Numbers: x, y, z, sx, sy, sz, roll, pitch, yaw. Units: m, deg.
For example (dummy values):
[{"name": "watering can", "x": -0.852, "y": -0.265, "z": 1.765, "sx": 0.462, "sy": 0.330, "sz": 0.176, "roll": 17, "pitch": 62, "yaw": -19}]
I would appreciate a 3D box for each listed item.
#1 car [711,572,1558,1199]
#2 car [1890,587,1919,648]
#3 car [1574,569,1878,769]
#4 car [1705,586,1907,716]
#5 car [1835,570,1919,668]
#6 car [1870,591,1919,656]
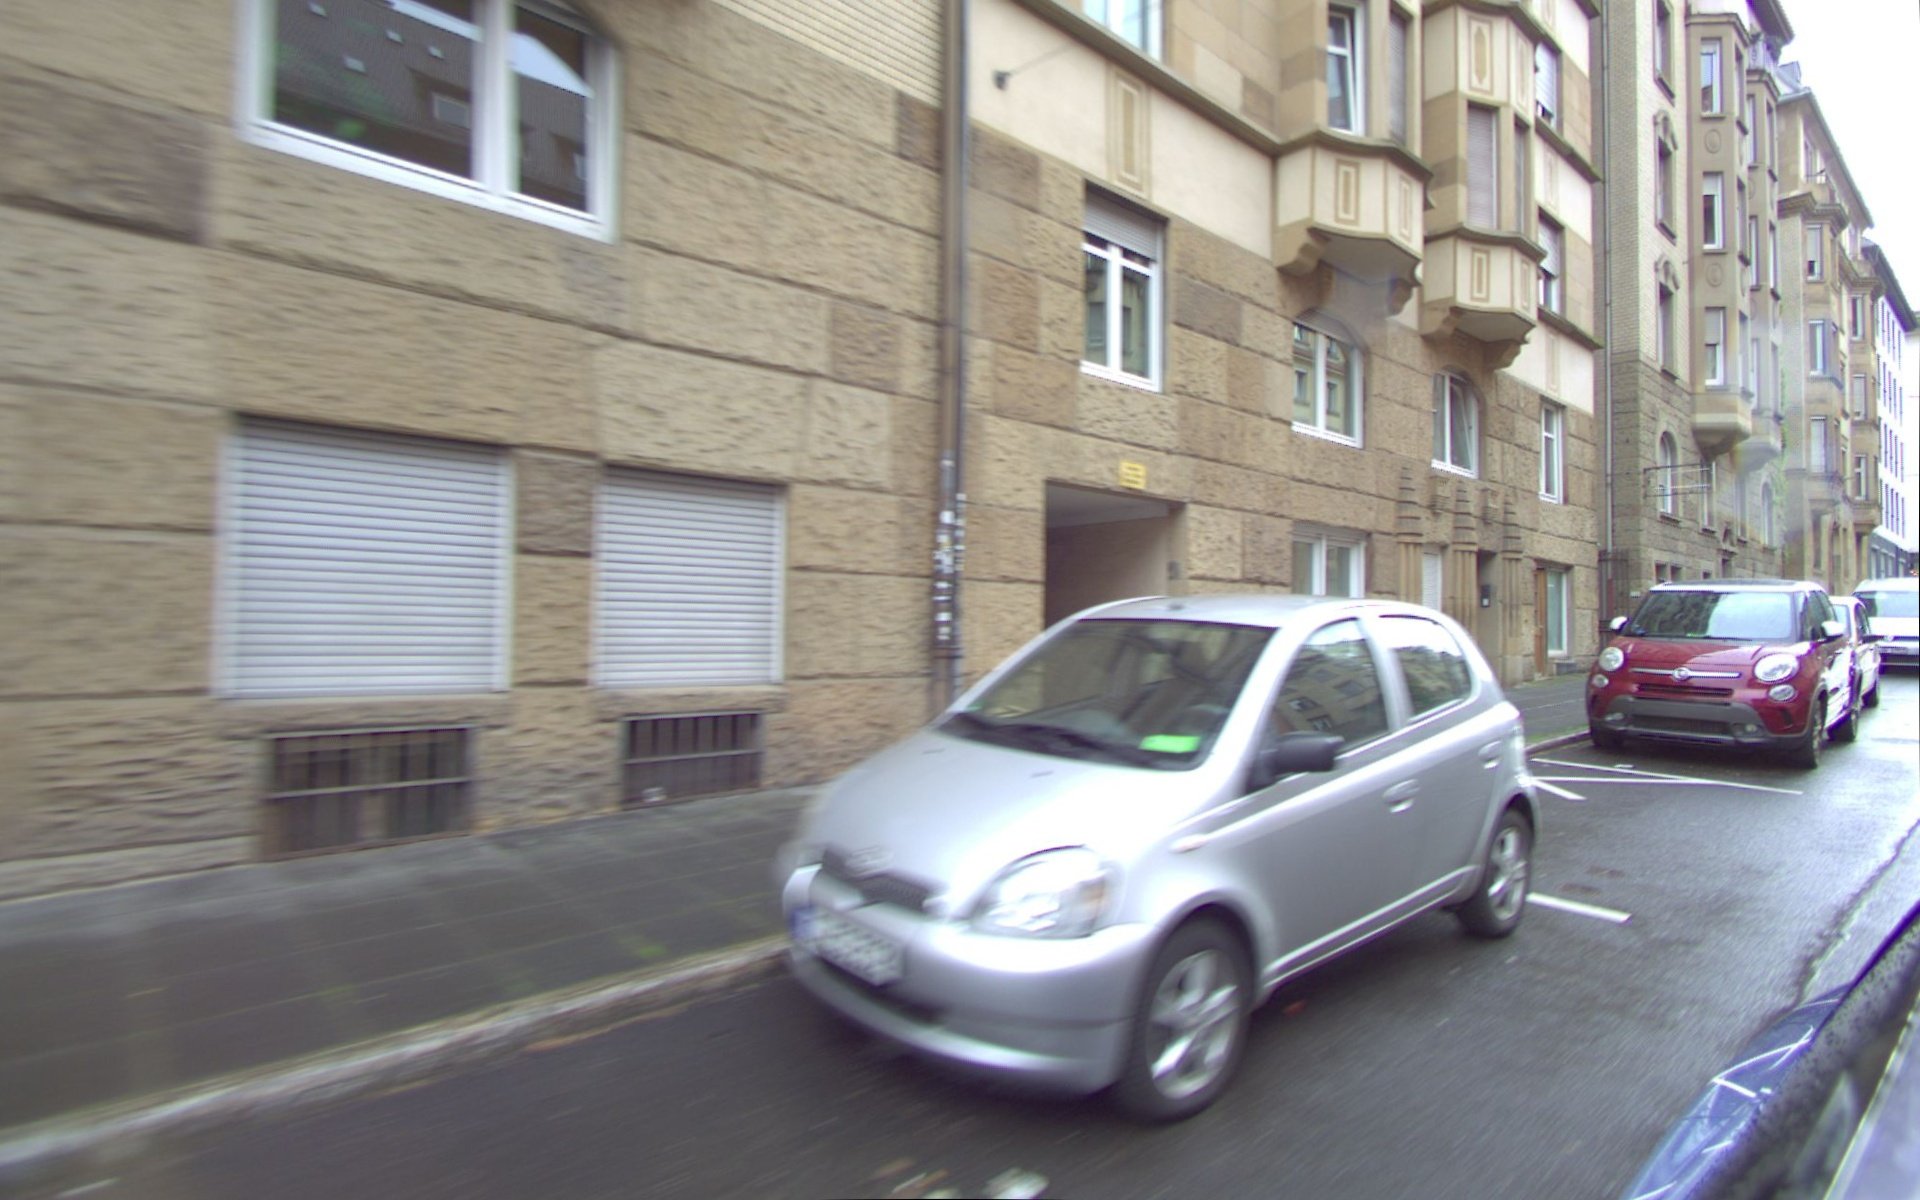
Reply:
[{"name": "car", "x": 0.933, "y": 0.666, "z": 4.137, "sx": 3.460, "sy": 1.505, "sz": 1.597, "roll": 0, "pitch": 1, "yaw": -41}, {"name": "car", "x": 25.717, "y": 0.414, "z": 26.235, "sx": 3.988, "sy": 1.544, "sz": 1.933, "roll": -1, "pitch": -1, "yaw": -41}, {"name": "car", "x": 7.800, "y": 0.528, "z": 10.172, "sx": 3.932, "sy": 1.621, "sz": 1.771, "roll": -1, "pitch": 1, "yaw": -43}, {"name": "car", "x": 11.536, "y": 0.600, "z": 13.731, "sx": 3.471, "sy": 1.530, "sz": 1.630, "roll": -1, "pitch": -1, "yaw": -42}, {"name": "car", "x": 18.715, "y": 0.330, "z": 19.864, "sx": 3.893, "sy": 1.791, "sz": 1.809, "roll": -1, "pitch": 0, "yaw": -41}, {"name": "car", "x": 22.533, "y": 0.492, "z": 23.266, "sx": 3.913, "sy": 1.406, "sz": 1.929, "roll": -1, "pitch": -1, "yaw": -41}]
